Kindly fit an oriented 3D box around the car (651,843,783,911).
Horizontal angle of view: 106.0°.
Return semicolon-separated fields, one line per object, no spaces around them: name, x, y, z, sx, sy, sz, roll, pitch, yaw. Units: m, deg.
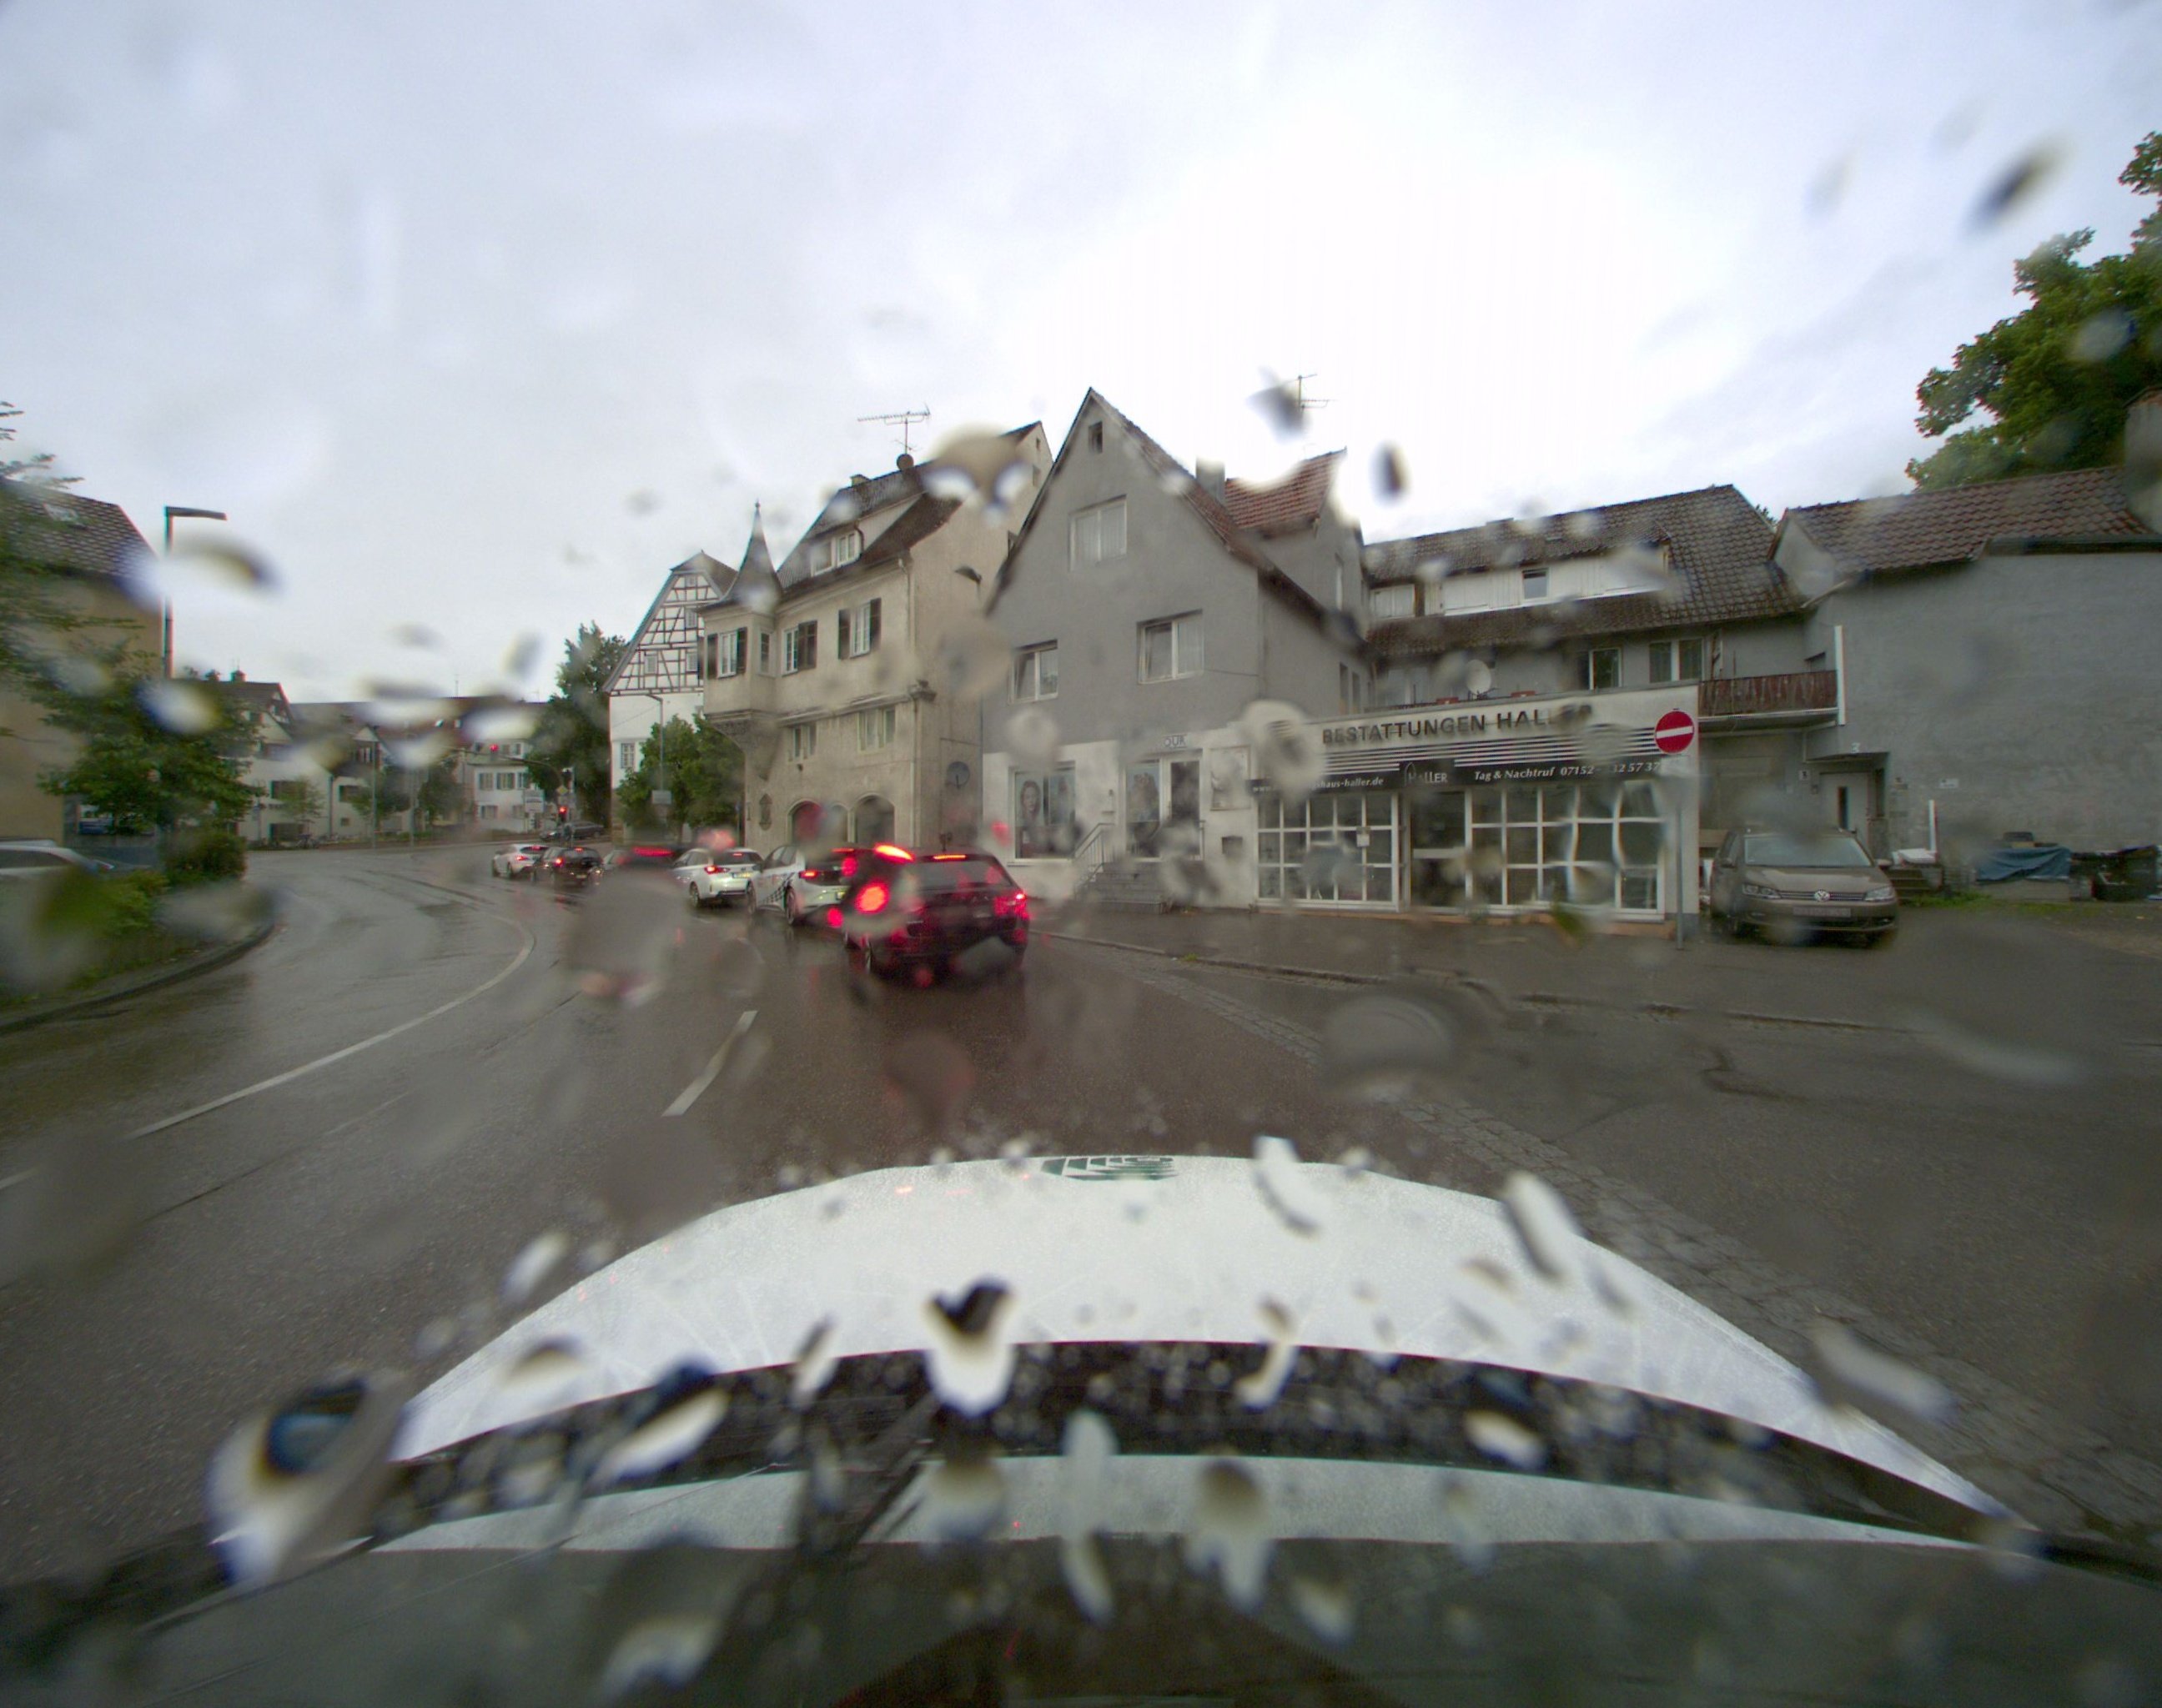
car;-9.391;0.505;20.844;1.801;1.465;4.114;-3;3;-43

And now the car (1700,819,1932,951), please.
car;11.565;0.324;13.205;1.905;1.727;4.698;0;2;31

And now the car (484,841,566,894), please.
car;-23.933;0.527;35.003;3.911;2.090;1.992;1;3;42

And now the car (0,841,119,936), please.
car;-20.312;0.632;14.615;1.692;1.685;3.557;0;1;23

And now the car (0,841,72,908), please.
car;-26.431;0.502;18.815;1.692;1.576;3.557;0;1;23

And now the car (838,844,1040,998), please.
car;-2.015;0.641;10.419;1.739;1.450;4.211;-2;2;-21

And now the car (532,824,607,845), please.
car;-38.252;-1.449;61.072;1.632;1.389;4.555;7;3;23

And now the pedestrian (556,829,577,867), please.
pedestrian;-32.080;-0.393;50.755;0.873;2.326;1.216;-1;0;-41

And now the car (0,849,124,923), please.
car;-22.600;0.672;16.655;1.692;1.455;3.557;0;1;23

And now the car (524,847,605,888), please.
car;-19.197;0.458;30.233;3.579;1.312;1.678;1;3;44

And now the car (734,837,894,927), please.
car;-5.513;0.481;16.458;1.803;1.517;4.194;-3;1;-36

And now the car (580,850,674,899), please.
car;-14.460;0.589;25.878;3.720;1.361;1.533;1;3;44

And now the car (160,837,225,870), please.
car;-44.112;0.011;40.518;1.747;1.510;4.221;-3;1;-42
